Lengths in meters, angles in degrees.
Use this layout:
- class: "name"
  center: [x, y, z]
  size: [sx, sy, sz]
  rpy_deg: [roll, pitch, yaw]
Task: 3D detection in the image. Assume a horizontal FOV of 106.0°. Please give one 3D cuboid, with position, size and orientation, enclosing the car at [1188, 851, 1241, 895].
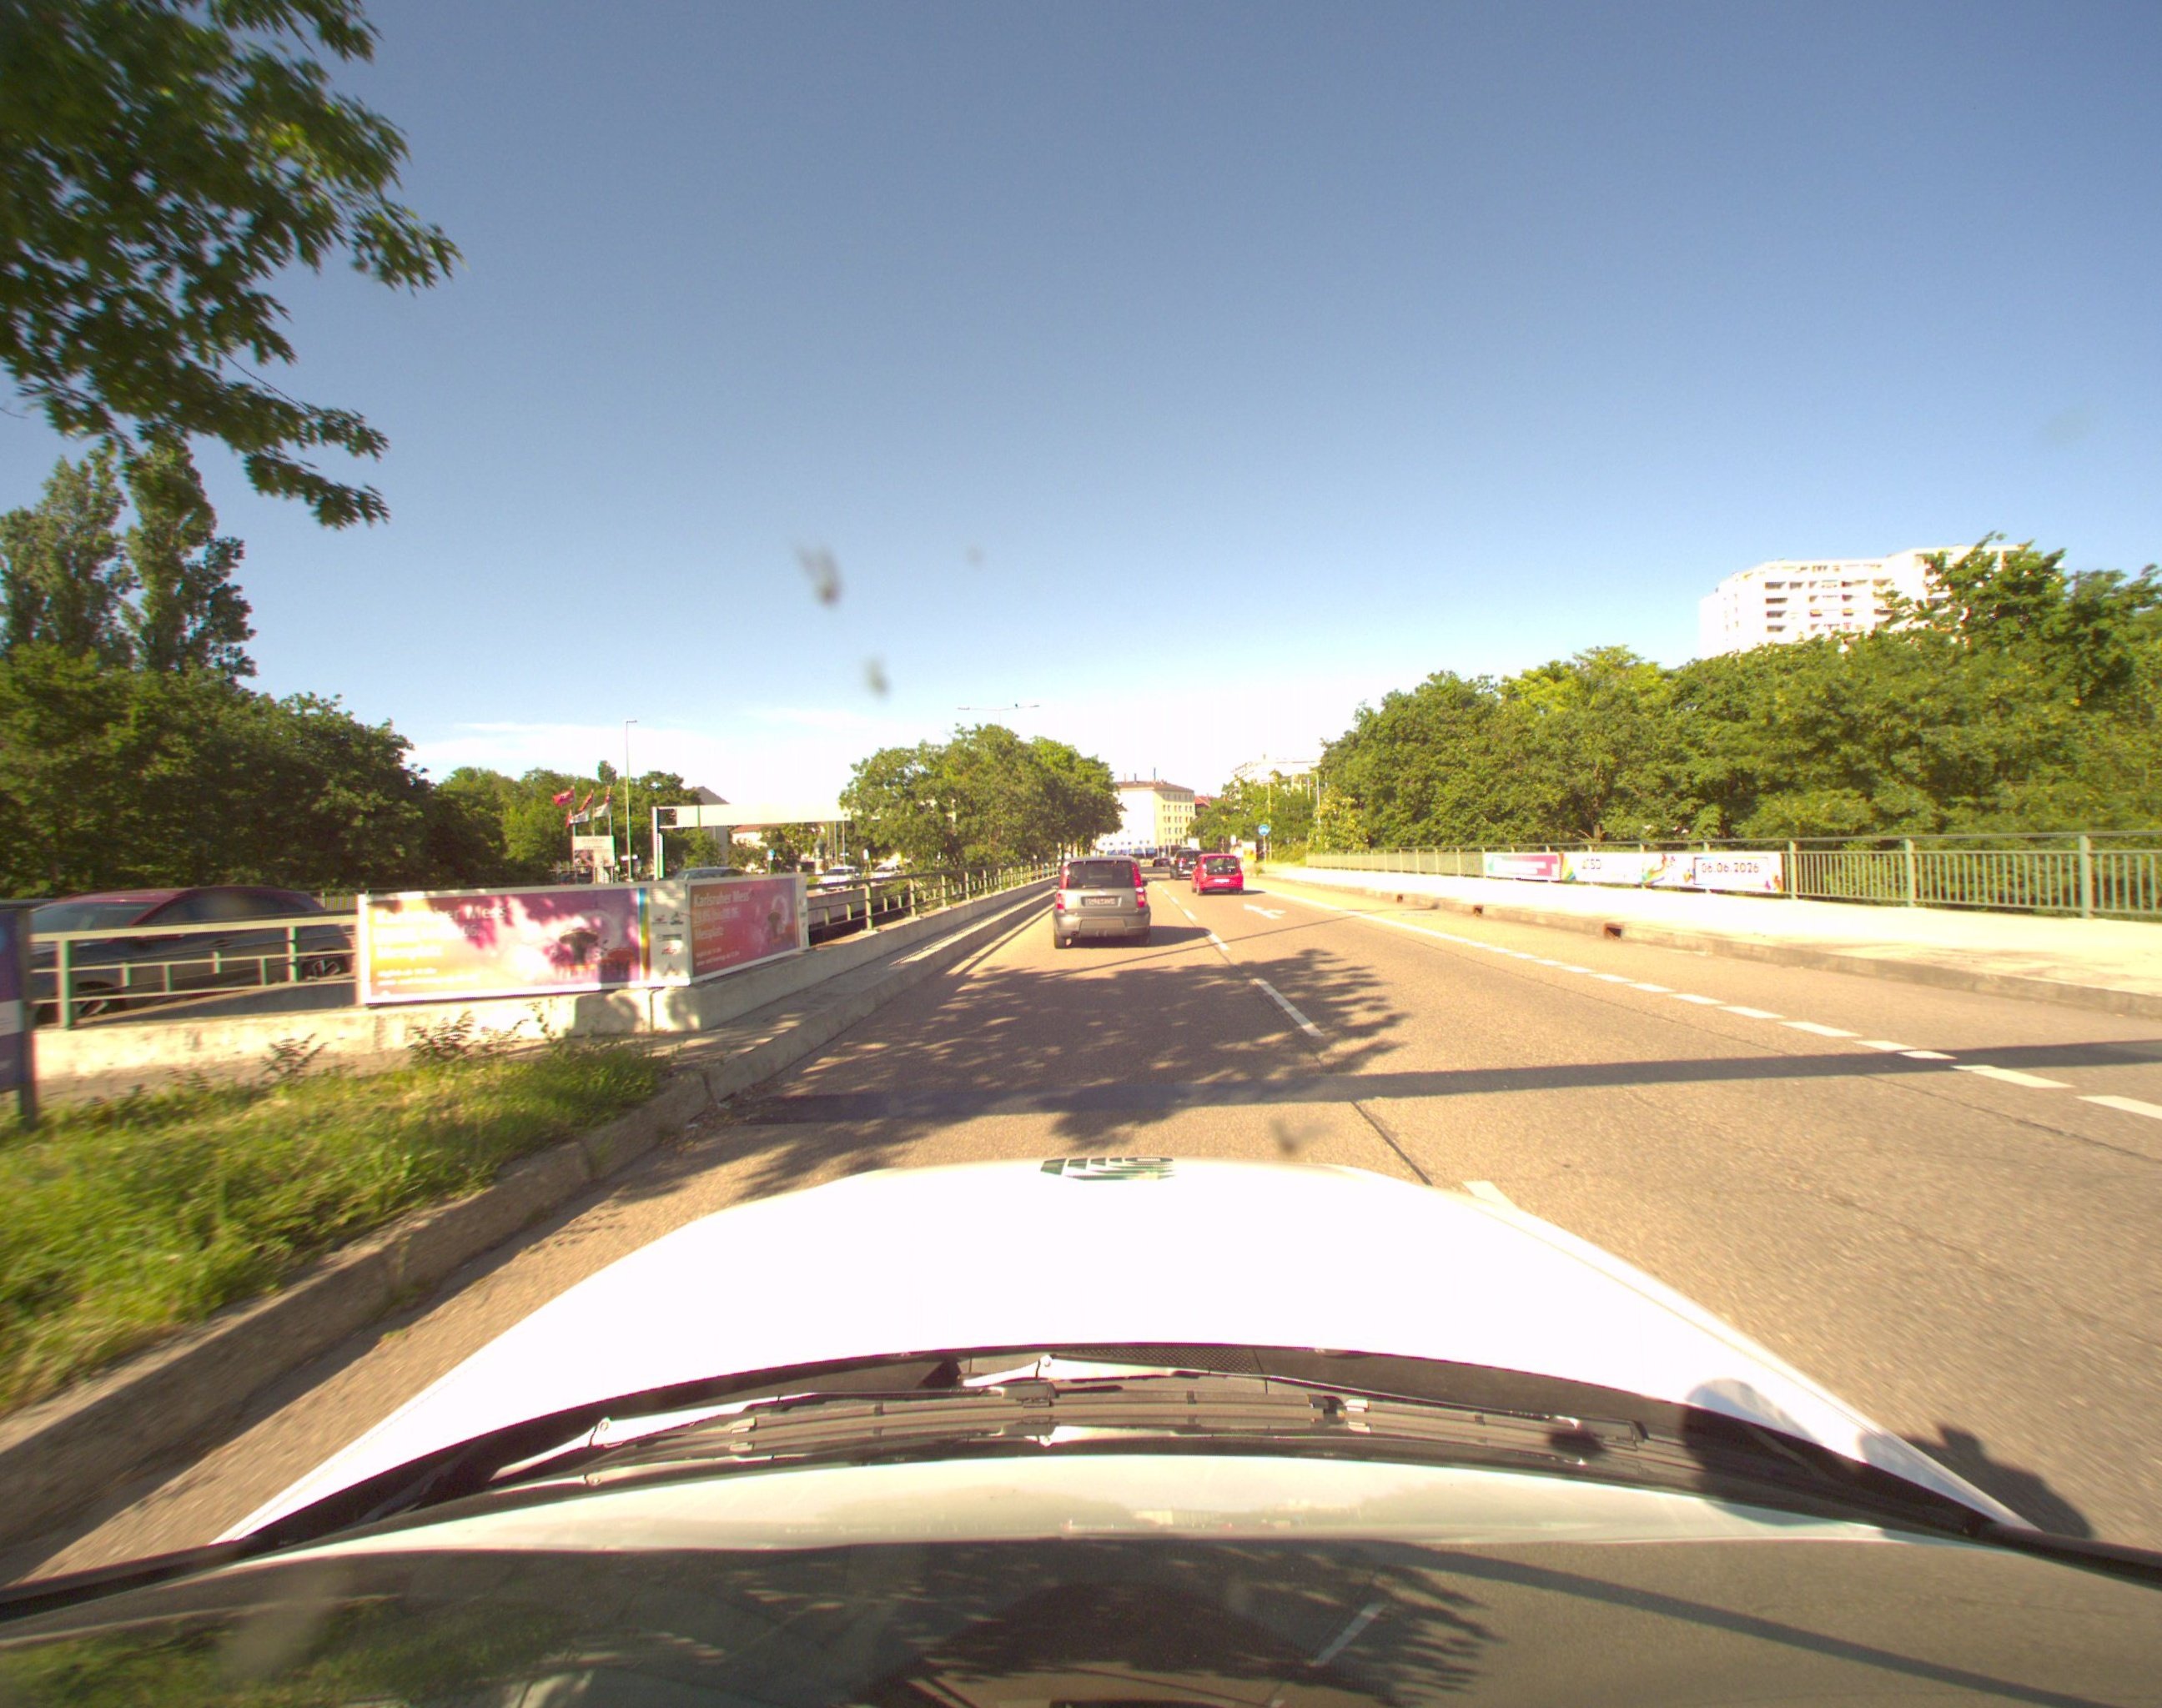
- class: "car"
  center: [4.891, 0.651, 30.147]
  size: [1.610, 1.463, 3.756]
  rpy_deg: [-1, 0, 5]

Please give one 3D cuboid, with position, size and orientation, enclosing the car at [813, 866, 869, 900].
- class: "car"
  center: [-12.199, 1.452, 41.599]
  size: [1.739, 1.500, 3.996]
  rpy_deg: [-3, 0, -2]

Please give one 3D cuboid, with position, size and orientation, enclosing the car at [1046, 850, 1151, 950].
- class: "car"
  center: [0.346, 0.713, 14.666]
  size: [1.611, 1.515, 3.822]
  rpy_deg: [-1, 0, 2]

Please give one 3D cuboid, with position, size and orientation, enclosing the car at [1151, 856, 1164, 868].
- class: "car"
  center: [12.728, 1.315, 135.087]
  size: [1.935, 1.840, 4.161]
  rpy_deg: [-6, -2, 7]

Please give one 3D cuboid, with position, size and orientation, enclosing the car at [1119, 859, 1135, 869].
- class: "car"
  center: [7.656, 1.583, 135.508]
  size: [1.932, 1.528, 4.112]
  rpy_deg: [-2, 0, 13]

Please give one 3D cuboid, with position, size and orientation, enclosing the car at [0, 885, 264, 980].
- class: "car"
  center: [-21.200, 1.627, 17.938]
  size: [1.932, 1.622, 4.501]
  rpy_deg: [-2, 0, -3]

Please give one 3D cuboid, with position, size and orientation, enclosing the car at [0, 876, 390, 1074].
- class: "car"
  center: [-10.571, 1.151, 9.093]
  size: [1.932, 1.622, 4.501]
  rpy_deg: [-2, 0, -3]

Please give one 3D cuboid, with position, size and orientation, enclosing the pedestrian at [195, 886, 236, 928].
- class: "pedestrian"
  center: [-31.814, 1.946, 29.930]
  size: [0.665, 1.503, 0.782]
  rpy_deg: [-2, -2, 15]

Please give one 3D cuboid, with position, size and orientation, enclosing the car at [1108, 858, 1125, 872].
- class: "car"
  center: [4.173, 1.237, 95.345]
  size: [1.937, 1.528, 4.101]
  rpy_deg: [-2, 0, 4]

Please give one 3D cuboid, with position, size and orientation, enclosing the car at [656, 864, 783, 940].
- class: "car"
  center: [-11.006, 1.369, 25.174]
  size: [1.988, 2.013, 4.331]
  rpy_deg: [-3, 0, -2]

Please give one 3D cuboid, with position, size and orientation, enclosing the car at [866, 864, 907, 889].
- class: "car"
  center: [-12.802, 1.457, 53.785]
  size: [1.739, 1.500, 3.996]
  rpy_deg: [-3, 0, -2]

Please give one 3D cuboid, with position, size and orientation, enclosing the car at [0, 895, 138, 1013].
- class: "car"
  center: [-16.668, 1.532, 11.688]
  size: [1.932, 1.622, 3.736]
  rpy_deg: [-2, 0, -3]

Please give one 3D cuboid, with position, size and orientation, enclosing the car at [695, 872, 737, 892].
- class: "car"
  center: [-42.284, 3.224, 94.451]
  size: [4.251, 2.013, 1.986]
  rpy_deg: [-3, 0, -20]

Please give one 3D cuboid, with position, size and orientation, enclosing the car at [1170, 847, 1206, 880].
- class: "car"
  center: [6.172, 0.559, 47.232]
  size: [1.935, 1.840, 4.160]
  rpy_deg: [-1, -1, 6]

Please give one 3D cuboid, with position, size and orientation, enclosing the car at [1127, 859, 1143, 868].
- class: "car"
  center: [9.704, 1.670, 145.648]
  size: [1.929, 1.528, 4.117]
  rpy_deg: [-2, 0, 18]

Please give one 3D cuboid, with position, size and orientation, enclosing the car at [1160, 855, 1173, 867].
- class: "car"
  center: [14.896, 1.266, 142.037]
  size: [1.935, 1.840, 4.161]
  rpy_deg: [-6, -2, 7]
